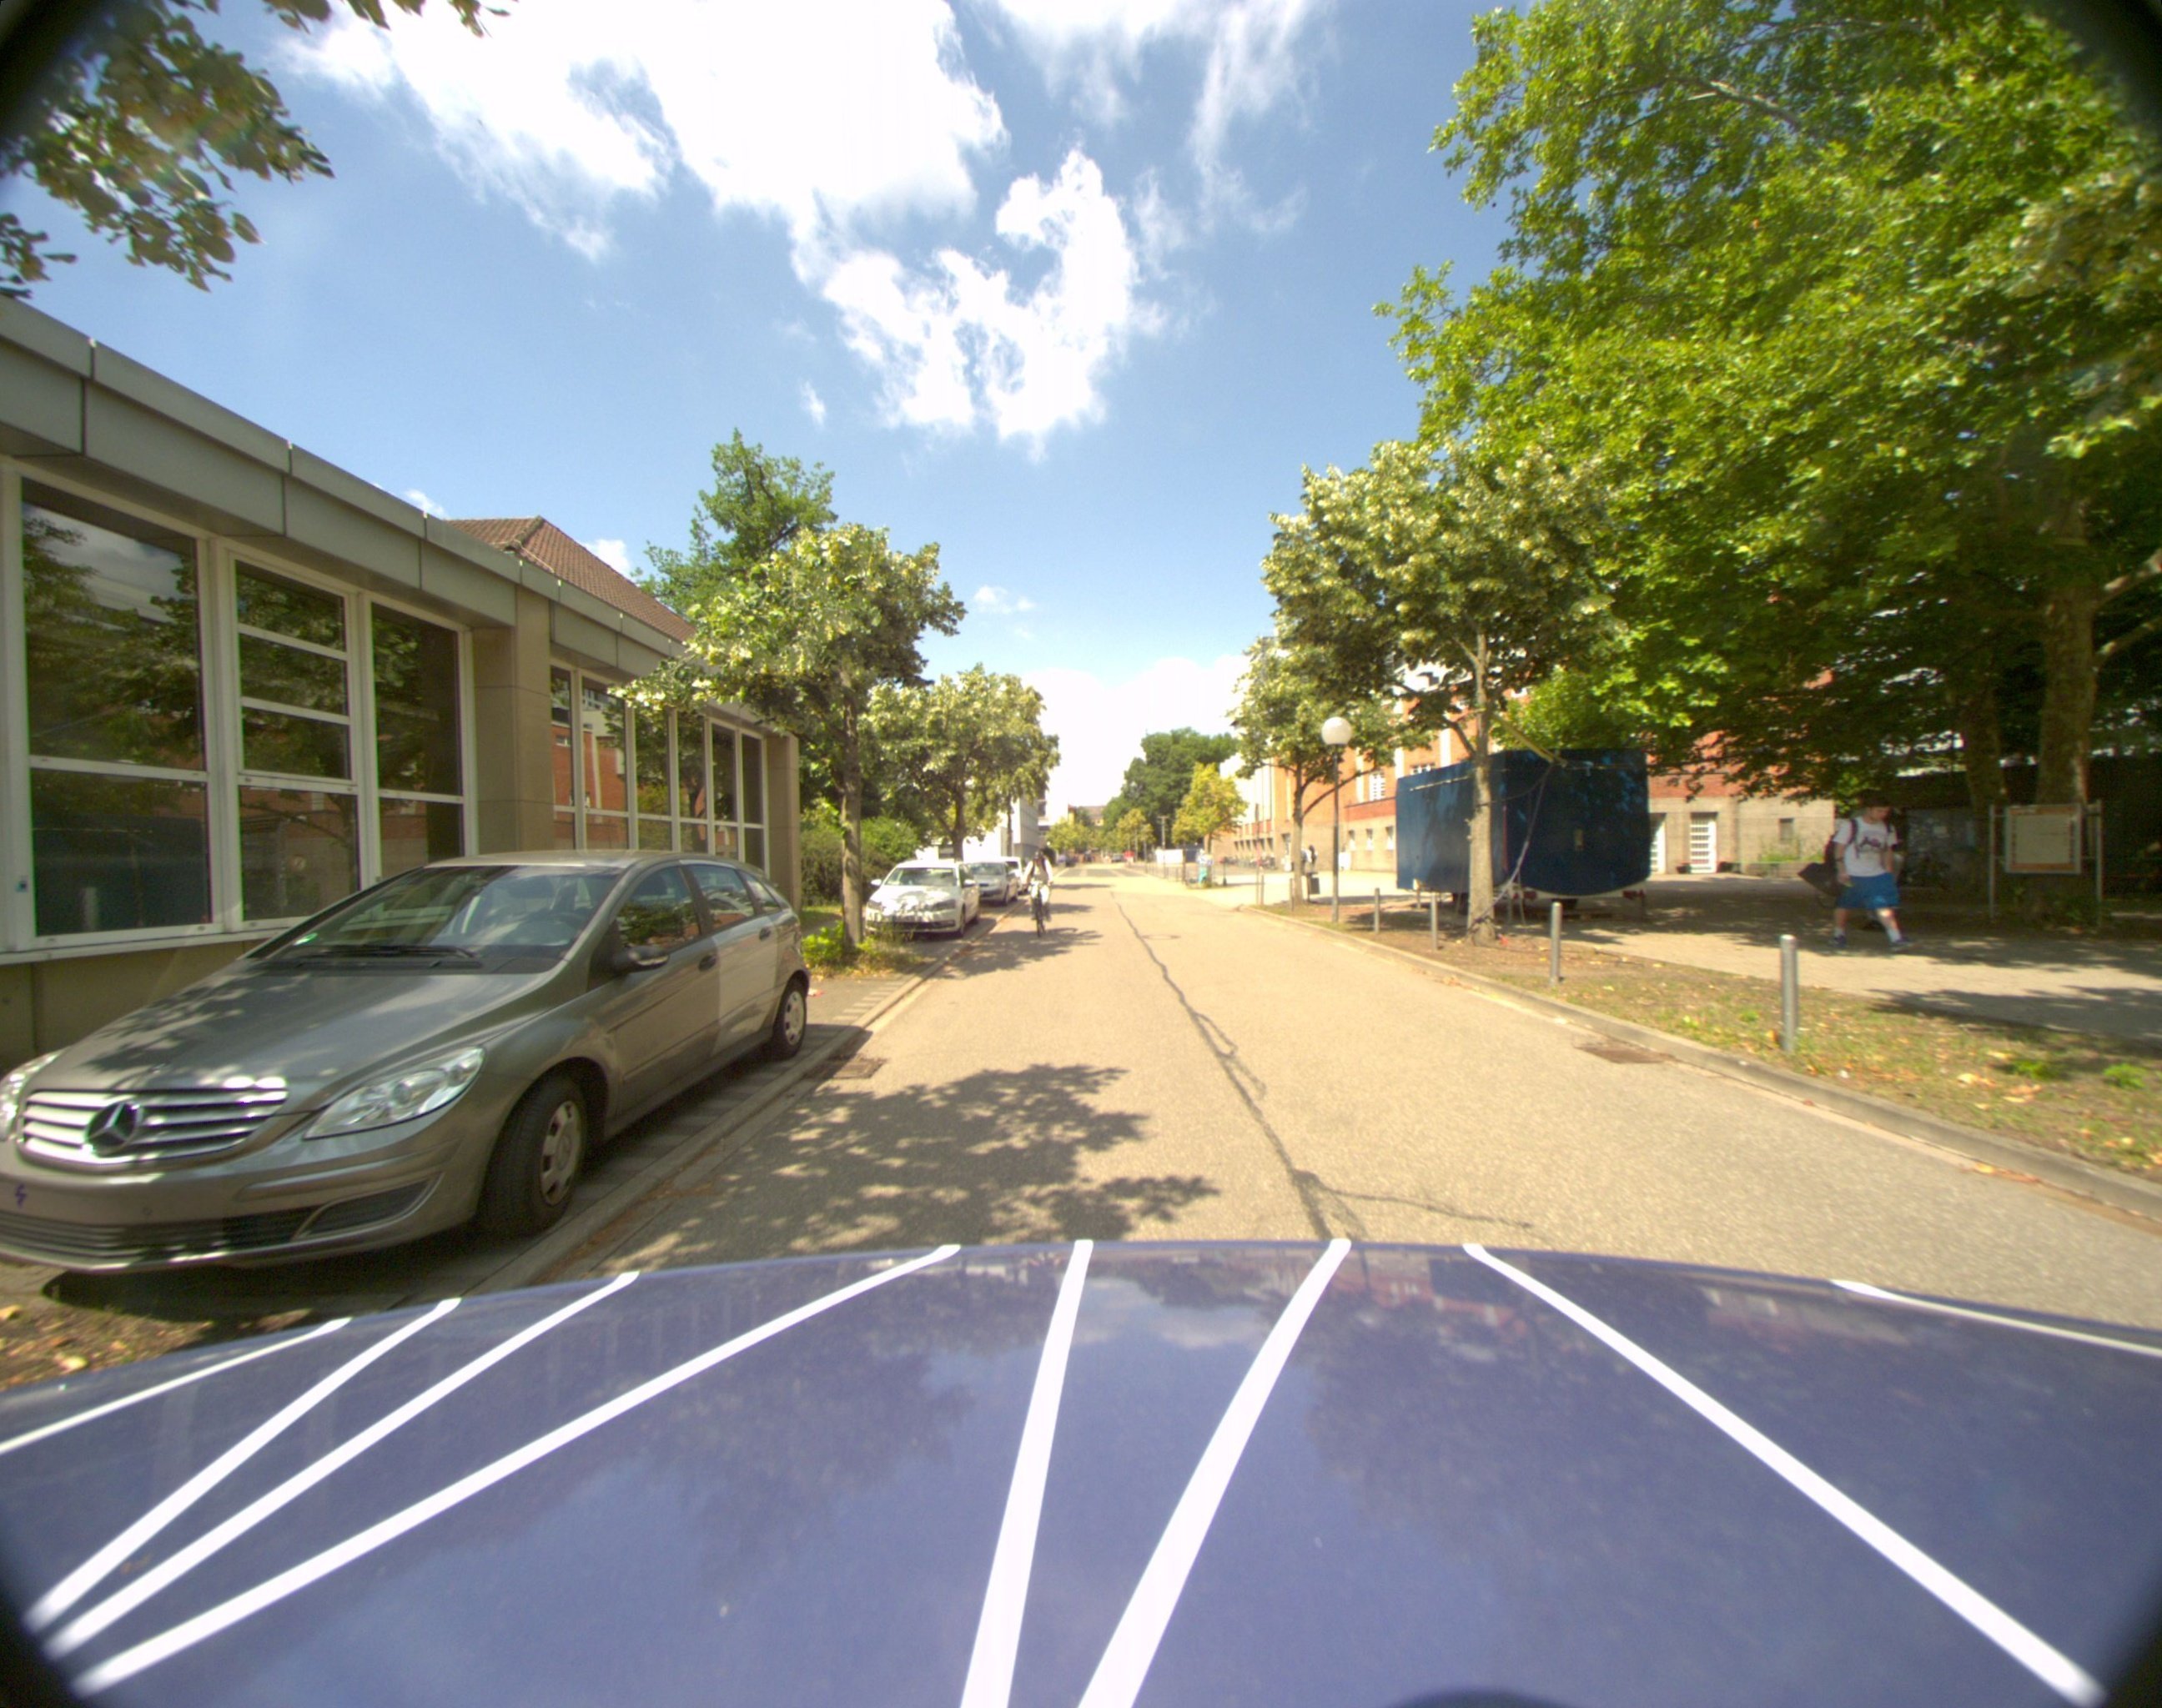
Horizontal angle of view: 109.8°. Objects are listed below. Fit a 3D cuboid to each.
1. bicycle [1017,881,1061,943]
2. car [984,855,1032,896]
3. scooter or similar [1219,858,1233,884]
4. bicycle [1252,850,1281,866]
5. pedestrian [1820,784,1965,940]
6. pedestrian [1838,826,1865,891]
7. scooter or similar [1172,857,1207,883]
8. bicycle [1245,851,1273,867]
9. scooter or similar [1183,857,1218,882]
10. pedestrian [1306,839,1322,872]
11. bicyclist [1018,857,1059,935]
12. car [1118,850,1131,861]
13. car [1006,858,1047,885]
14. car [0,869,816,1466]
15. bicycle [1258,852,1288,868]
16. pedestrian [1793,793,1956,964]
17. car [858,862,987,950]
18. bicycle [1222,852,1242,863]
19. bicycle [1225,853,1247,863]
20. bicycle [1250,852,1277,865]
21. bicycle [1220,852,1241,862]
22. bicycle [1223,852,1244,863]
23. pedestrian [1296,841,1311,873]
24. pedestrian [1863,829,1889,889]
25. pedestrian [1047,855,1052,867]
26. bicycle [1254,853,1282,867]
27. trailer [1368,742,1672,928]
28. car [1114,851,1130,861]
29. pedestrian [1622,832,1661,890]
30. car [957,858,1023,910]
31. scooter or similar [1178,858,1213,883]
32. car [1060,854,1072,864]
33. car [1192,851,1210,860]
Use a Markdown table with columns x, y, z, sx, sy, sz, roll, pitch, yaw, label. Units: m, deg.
| x | y | z | sx | sy | sz | roll | pitch | yaw | label |
| --- | --- | --- | --- | --- | --- | --- | --- | --- | --- |
| -0.809 | 1.130 | 15.341 | 0.675 | 1.066 | 2.136 | -1 | 0 | 2 | bicycle |
| -2.838 | 0.811 | 30.248 | 1.591 | 1.458 | 3.988 | -1 | 0 | -2 | car |
| 6.792 | 0.774 | 35.561 | 0.564 | 1.142 | 1.351 | -1 | 1 | 13 | scooter or similar |
| 14.146 | 0.318 | 57.989 | 2.026 | 1.119 | 0.592 | -2 | 1 | 1 | bicycle |
| 10.786 | 0.108 | 10.145 | 0.919 | 1.943 | 0.892 | -4 | 1 | 10 | pedestrian |
| 20.669 | 0.126 | 20.386 | 0.531 | 1.700 | 0.447 | -3 | 0 | -44 | pedestrian |
| 5.240 | 0.775 | 36.689 | 1.571 | 1.218 | 0.525 | -1 | 1 | 28 | scooter or similar |
| 13.739 | 0.370 | 58.766 | 2.026 | 1.119 | 0.439 | -3 | 1 | 4 | bicycle |
| 5.991 | 0.778 | 38.104 | 1.571 | 1.218 | 0.571 | -1 | 1 | 28 | scooter or similar |
| 12.803 | 0.078 | 41.729 | 0.577 | 1.769 | 0.917 | -2 | 1 | 0 | pedestrian |
| -0.837 | 0.819 | 15.240 | 0.675 | 1.470 | 1.062 | -1 | 2 | 2 | bicyclist |
| 7.647 | 0.227 | 132.971 | 1.912 | 1.870 | 4.002 | -2 | 0 | 7 | car |
| -2.859 | 0.891 | 40.526 | 1.712 | 1.273 | 4.000 | -2 | 0 | 2 | car |
| -3.020 | 0.920 | 4.187 | 1.708 | 1.565 | 4.139 | 0 | 0 | -1 | car |
| 14.164 | 0.457 | 56.163 | 2.027 | 1.119 | 0.667 | -2 | 1 | -1 | bicycle |
| 9.018 | 0.265 | 8.686 | 0.801 | 1.820 | 0.986 | -2 | 1 | 1 | pedestrian |
| -3.037 | 0.921 | 15.529 | 1.730 | 1.458 | 4.671 | -1 | 0 | -1 | car |
| 15.279 | 0.371 | 76.988 | 1.955 | 1.024 | 0.518 | -2 | 1 | -1 | bicycle |
| 14.909 | 0.381 | 72.970 | 1.955 | 0.935 | 0.569 | -2 | 1 | -1 | bicycle |
| 14.864 | 0.359 | 62.029 | 2.027 | 1.055 | 0.663 | -2 | 1 | -1 | bicycle |
| 15.286 | 0.314 | 77.789 | 1.955 | 1.024 | 0.542 | -2 | 1 | -1 | bicycle |
| 14.926 | 0.323 | 74.564 | 1.955 | 1.024 | 0.530 | -2 | 1 | -1 | bicycle |
| 12.211 | 0.161 | 41.733 | 0.564 | 1.752 | 0.805 | -2 | 1 | 0 | pedestrian |
| 21.414 | 0.126 | 20.464 | 0.607 | 1.584 | 0.411 | -3 | 0 | -41 | pedestrian |
| -3.873 | 0.862 | 92.622 | 0.525 | 1.430 | 0.701 | -1 | 1 | 3 | pedestrian |
| 14.846 | 0.482 | 60.330 | 2.015 | 1.076 | 0.621 | -2 | 1 | -1 | bicycle |
| 8.569 | -0.329 | 15.911 | 2.703 | 3.009 | 6.266 | -3 | 0 | 0 | trailer |
| 8.543 | 0.344 | 159.063 | 2.022 | 2.079 | 4.439 | -2 | 0 | 22 | car |
| 16.505 | 0.196 | 22.386 | 0.632 | 1.656 | 0.643 | -2 | 1 | 2 | pedestrian |
| -2.794 | 0.885 | 24.012 | 1.651 | 1.382 | 3.988 | -2 | 1 | -1 | car |
| 5.638 | 0.806 | 37.293 | 1.571 | 1.218 | 0.566 | -1 | 1 | 28 | scooter or similar |
| -2.047 | 0.655 | 103.702 | 1.552 | 1.377 | 3.453 | -1 | 0 | -1 | car |
| 15.953 | 0.241 | 101.051 | 2.288 | 1.173 | 0.524 | -2 | 1 | 2 | car |
